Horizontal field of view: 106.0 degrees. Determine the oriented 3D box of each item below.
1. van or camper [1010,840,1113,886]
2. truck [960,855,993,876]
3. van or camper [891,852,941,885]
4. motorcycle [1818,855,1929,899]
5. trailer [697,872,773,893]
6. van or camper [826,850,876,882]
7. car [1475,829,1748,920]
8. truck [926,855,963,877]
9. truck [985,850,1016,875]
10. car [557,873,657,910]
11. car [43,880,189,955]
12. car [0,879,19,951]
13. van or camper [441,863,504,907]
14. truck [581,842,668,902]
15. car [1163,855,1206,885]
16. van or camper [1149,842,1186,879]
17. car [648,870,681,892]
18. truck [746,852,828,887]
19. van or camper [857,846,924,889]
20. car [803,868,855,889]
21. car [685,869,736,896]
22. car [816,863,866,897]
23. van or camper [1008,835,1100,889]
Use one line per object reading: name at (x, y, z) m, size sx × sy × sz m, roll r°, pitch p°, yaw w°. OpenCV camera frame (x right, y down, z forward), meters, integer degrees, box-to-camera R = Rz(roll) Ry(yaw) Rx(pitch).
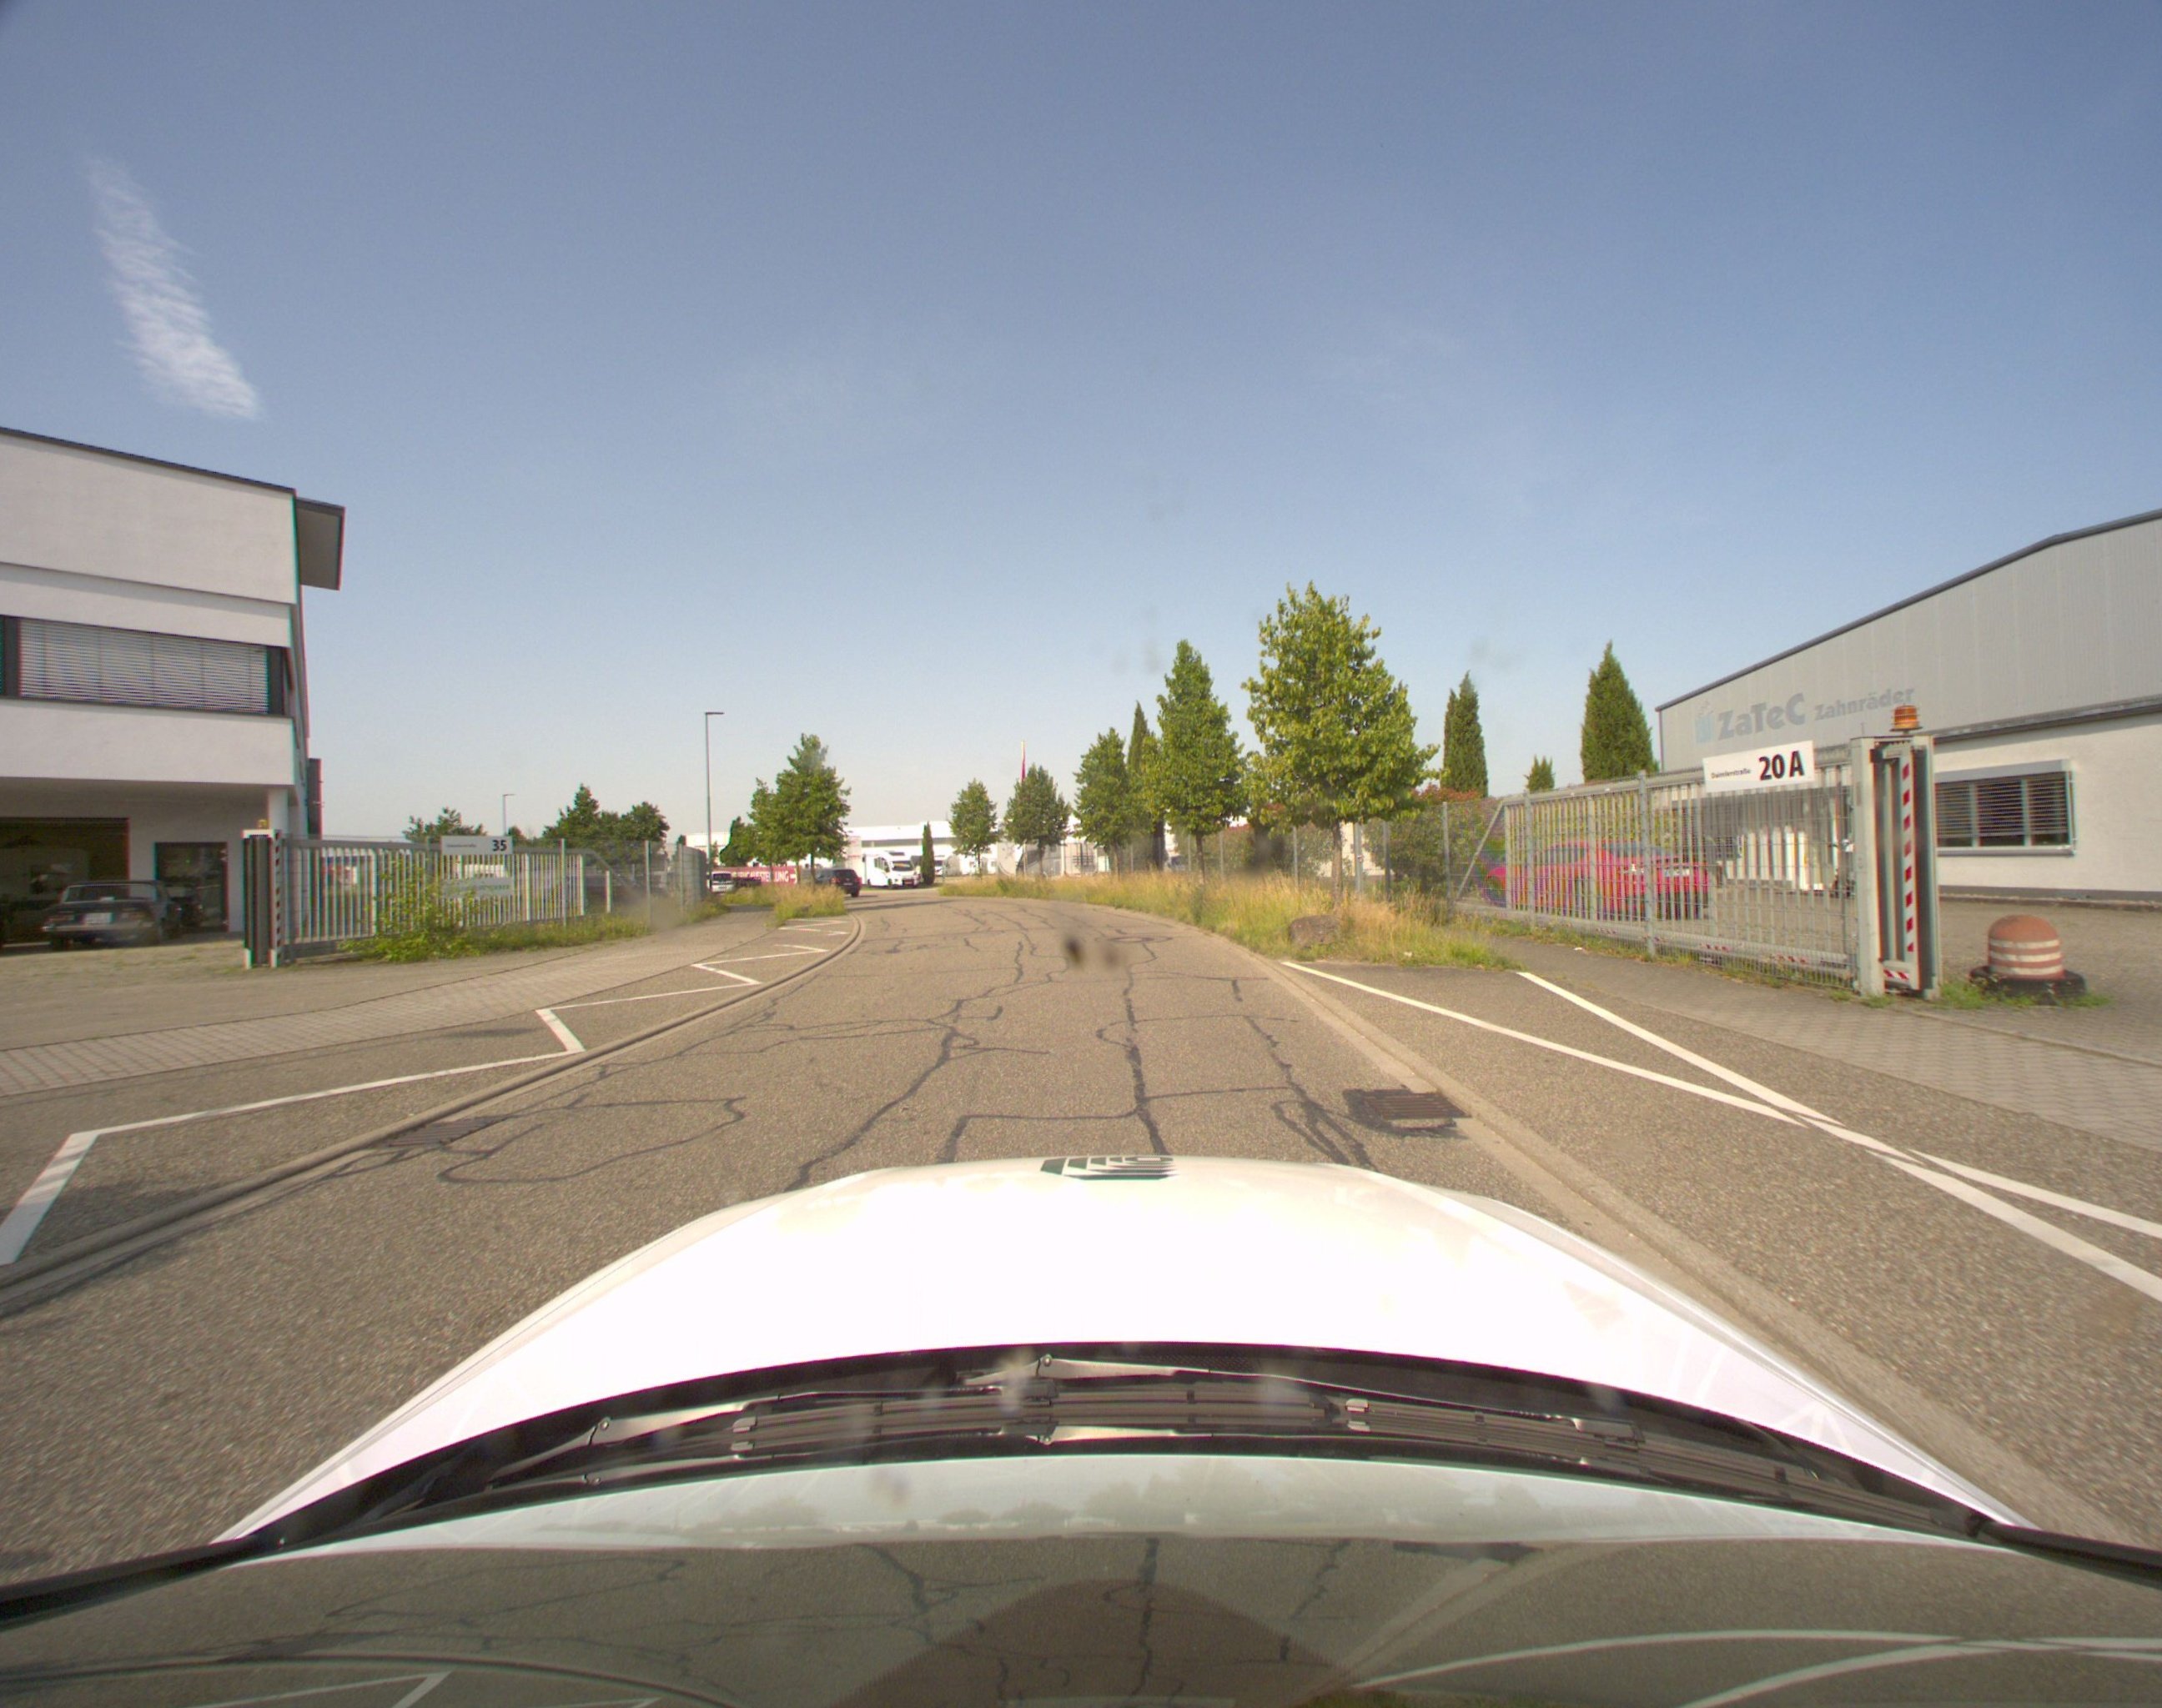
van or camper at (-1.431, 0.618, 59.228) m, size 7.245 × 3.032 × 2.581 m, roll -2°, pitch -1°, yaw -4°
truck at (-12.401, 1.347, 97.545) m, size 2.440 × 2.265 × 8.008 m, roll -2°, pitch 0°, yaw 3°
van or camper at (-13.697, 1.160, 68.159) m, size 2.473 × 2.559 × 6.629 m, roll -2°, pitch 0°, yaw 2°
motorcycle at (14.687, 0.408, 15.153) m, size 0.532 × 0.751 × 1.584 m, roll -3°, pitch 0°, yaw 2°
trailer at (-28.577, 2.353, 66.943) m, size 2.647 × 1.388 × 9.338 m, roll -4°, pitch 1°, yaw -43°
van or camper at (-23.371, 1.177, 83.214) m, size 2.650 × 3.084 × 6.803 m, roll -2°, pitch 0°, yaw 4°
car at (9.463, 0.342, 15.133) m, size 1.875 × 1.358 × 4.771 m, roll -2°, pitch 0°, yaw -1°
truck at (-15.930, 1.379, 95.438) m, size 2.440 × 2.471 × 8.008 m, roll -2°, pitch 0°, yaw 3°
truck at (-9.558, 0.974, 97.858) m, size 2.440 × 2.826 × 8.008 m, roll -2°, pitch 0°, yaw 3°
car at (-20.730, 1.602, 35.693) m, size 1.577 × 1.454 × 3.524 m, roll -3°, pitch -2°, yaw 44°
car at (-21.080, 1.315, 17.935) m, size 1.572 × 1.415 × 3.873 m, roll -1°, pitch -1°, yaw -43°
car at (-22.763, 1.270, 15.847) m, size 1.879 × 1.487 × 3.951 m, roll -1°, pitch -1°, yaw -43°
van or camper at (-38.278, 1.954, 51.167) m, size 4.891 × 2.560 × 2.327 m, roll -3°, pitch -1°, yaw 44°
truck at (-32.847, 1.353, 58.173) m, size 2.649 × 3.929 × 12.762 m, roll -1°, pitch -2°, yaw -42°
car at (5.799, 0.877, 46.157) m, size 1.718 × 1.643 × 3.995 m, roll 0°, pitch 0°, yaw -3°
van or camper at (7.019, 0.573, 67.009) m, size 2.313 × 2.864 × 6.608 m, roll -2°, pitch -1°, yaw 0°
car at (-40.629, 2.628, 79.427) m, size 1.835 × 1.978 × 3.952 m, roll -6°, pitch 3°, yaw -41°
truck at (-36.871, 1.935, 102.365) m, size 9.255 × 3.972 × 2.458 m, roll -2°, pitch -1°, yaw -1°
van or camper at (-14.181, 1.016, 60.281) m, size 2.348 × 2.943 × 6.895 m, roll -1°, pitch -1°, yaw -35°
car at (-20.940, 2.014, 67.756) m, size 2.148 × 1.476 × 4.018 m, roll -2°, pitch 0°, yaw 17°
car at (-27.861, 2.121, 61.206) m, size 4.411 × 1.899 × 2.012 m, roll -2°, pitch -1°, yaw 45°
car at (-13.949, 1.446, 47.186) m, size 2.005 × 1.804 × 3.964 m, roll -3°, pitch 1°, yaw -28°
van or camper at (-1.729, 0.511, 47.630) m, size 2.363 × 2.848 × 7.273 m, roll -1°, pitch -1°, yaw -29°
